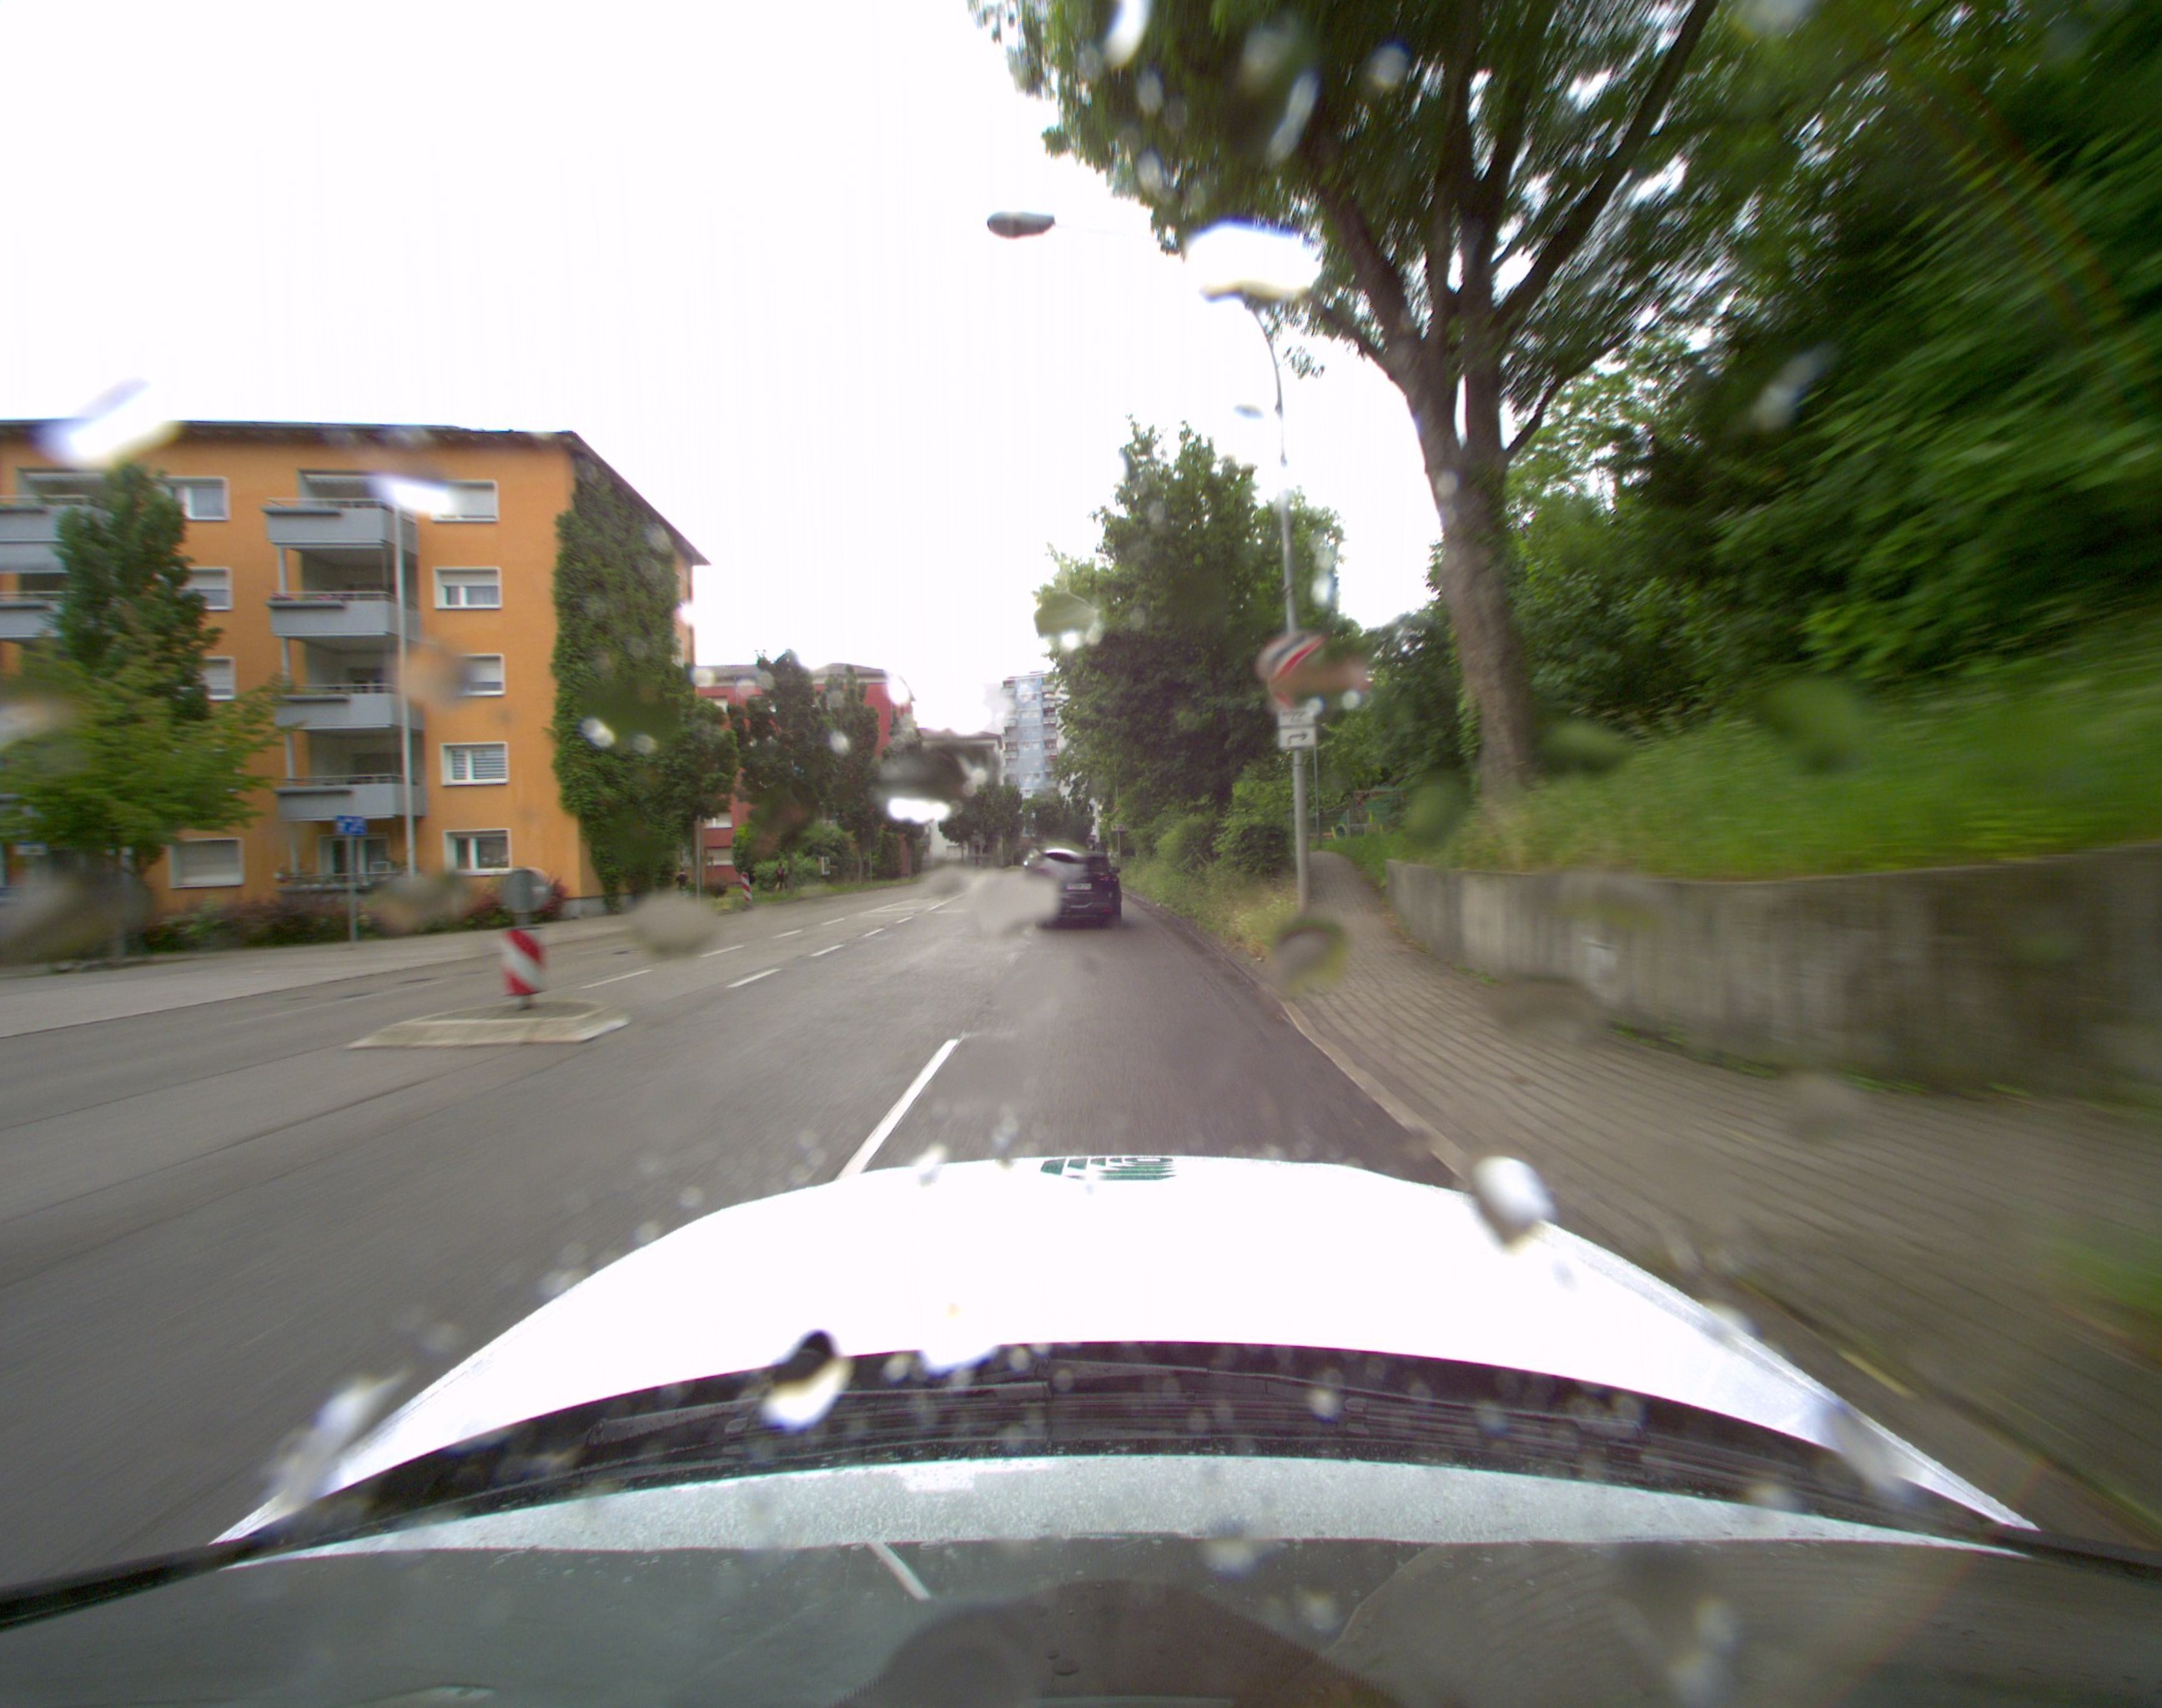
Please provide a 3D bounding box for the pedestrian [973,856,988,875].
[{"bbox_3d":[-9.999,1.152,81.154,1.128,1.804,1.265,-3,0,7],"label":"pedestrian"}]

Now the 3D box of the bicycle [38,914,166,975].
[{"bbox_3d":[-20.551,1.876,17.155,0.530,1.058,1.930,-3,0,-8],"label":"bicycle"}]

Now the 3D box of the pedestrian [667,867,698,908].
[{"bbox_3d":[-14.699,1.222,30.054,0.668,1.449,0.836,-3,0,1],"label":"pedestrian"}]

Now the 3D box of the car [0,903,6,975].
[{"bbox_3d":[-25.927,2.005,17.037,3.979,1.592,1.900,-3,1,-4],"label":"car"}]

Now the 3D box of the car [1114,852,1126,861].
[{"bbox_3d":[6.757,0.399,141.458,1.832,1.385,4.366,-4,0,5],"label":"car"}]

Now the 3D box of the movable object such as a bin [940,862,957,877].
[{"bbox_3d":[-12.615,1.432,77.541,1.152,1.331,1.969,-3,0,5],"label":"movable object such as a bin"}]

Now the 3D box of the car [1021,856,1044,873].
[{"bbox_3d":[-5.352,1.152,90.240,1.914,1.631,4.506,-4,0,4],"label":"car"}]

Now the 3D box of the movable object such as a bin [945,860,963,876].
[{"bbox_3d":[-12.420,1.400,79.714,1.209,1.484,2.090,-3,0,5],"label":"movable object such as a bin"}]

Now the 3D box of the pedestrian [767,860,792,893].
[{"bbox_3d":[-14.376,1.046,38.837,0.689,1.517,1.070,-3,0,2],"label":"pedestrian"}]

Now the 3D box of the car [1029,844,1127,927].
[{"bbox_3d":[-0.050,0.631,18.415,1.953,1.653,3.999,-1,0,0],"label":"car"}]
